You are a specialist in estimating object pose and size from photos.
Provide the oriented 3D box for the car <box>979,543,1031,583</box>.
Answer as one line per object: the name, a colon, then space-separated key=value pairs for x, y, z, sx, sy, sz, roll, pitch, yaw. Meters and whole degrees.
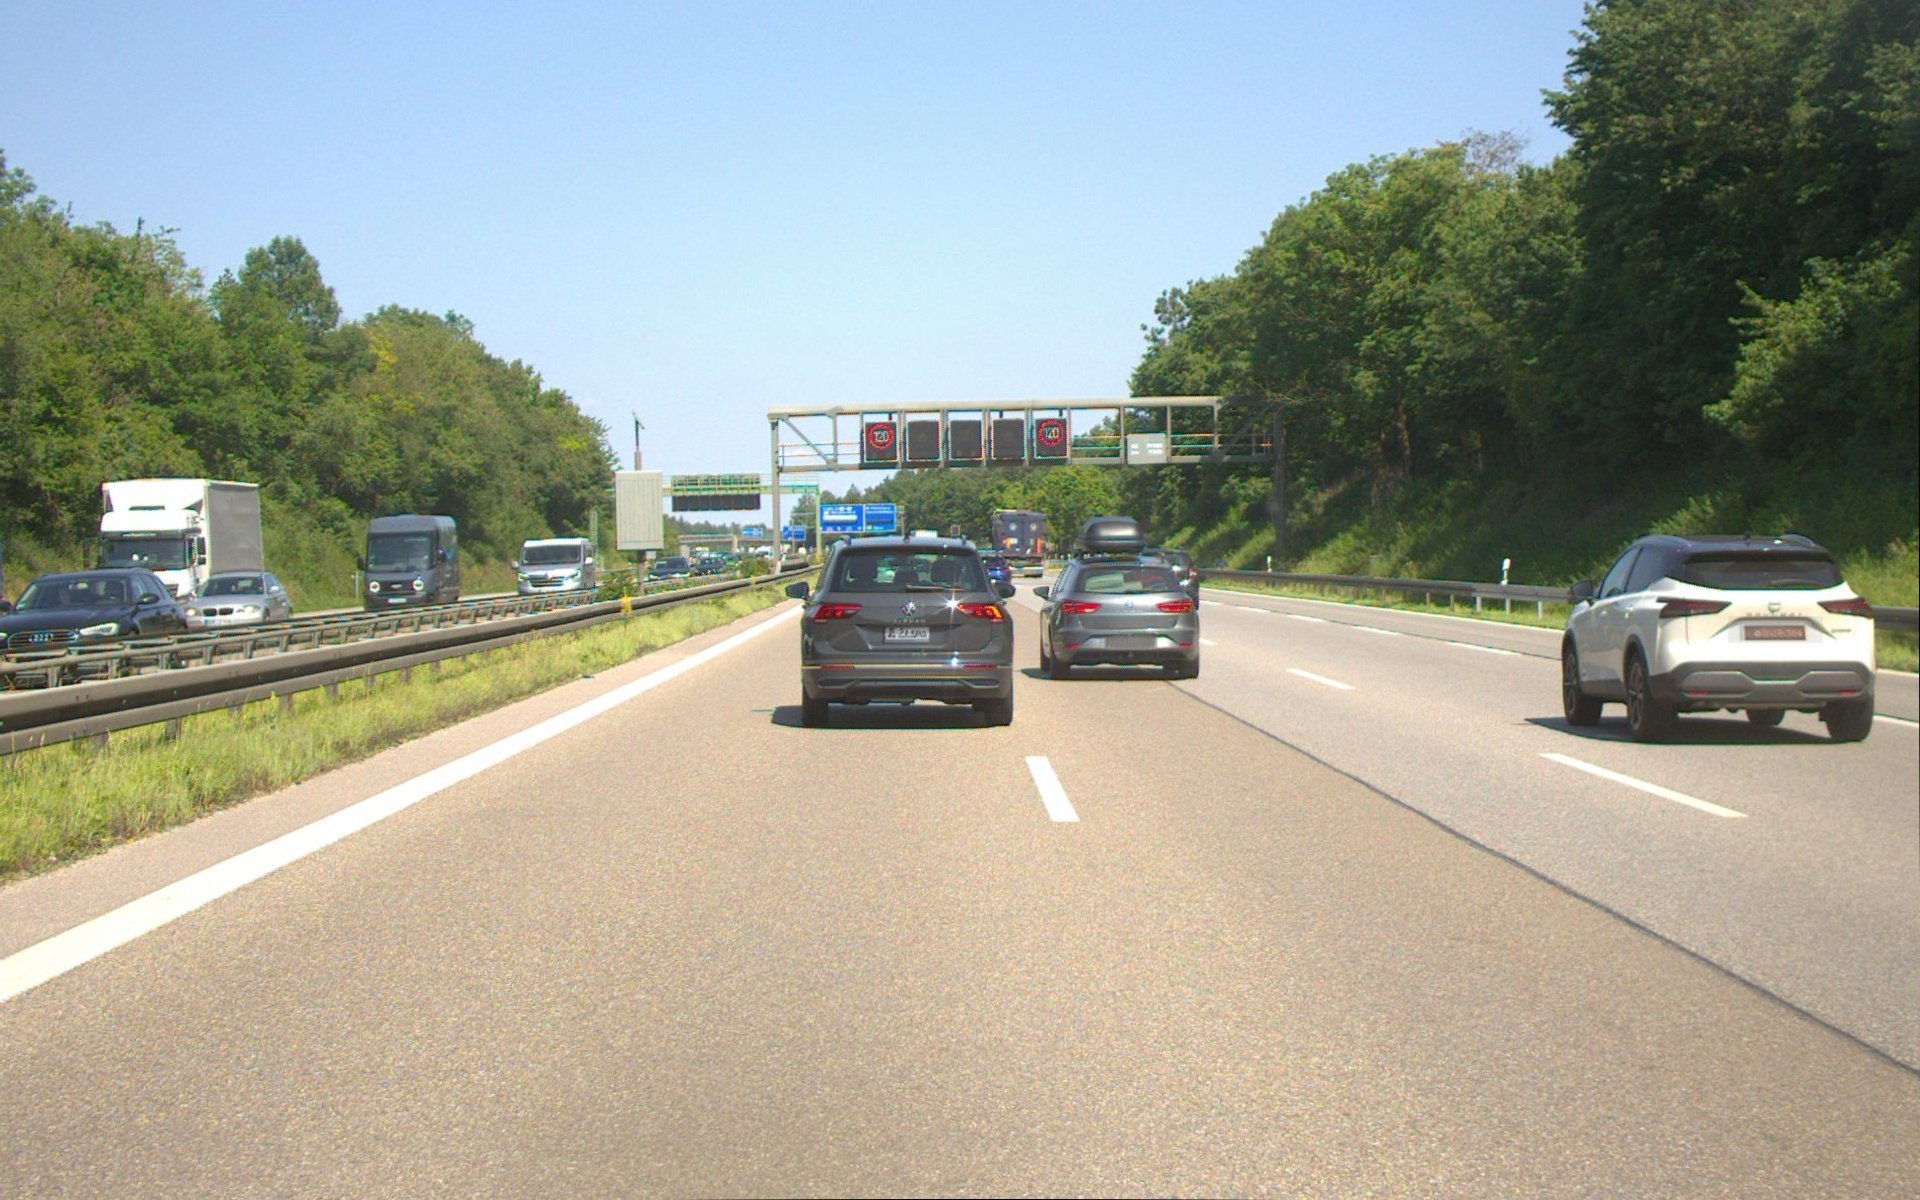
car: x=1.590 y=-1.318 z=121.617 sx=1.765 sy=1.377 sz=4.258 roll=1 pitch=1 yaw=1

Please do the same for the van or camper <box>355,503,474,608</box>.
van or camper: x=-15.529 y=-1.290 z=98.193 sx=2.197 sy=2.802 sz=6.798 roll=-3 pitch=1 yaw=0

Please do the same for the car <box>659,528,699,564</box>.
car: x=-12.024 y=-2.311 z=147.189 sx=1.433 sy=1.523 sz=3.458 roll=-1 pitch=1 yaw=-1

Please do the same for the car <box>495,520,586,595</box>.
car: x=-11.911 y=-1.219 z=97.994 sx=1.928 sy=1.974 sz=5.235 roll=-3 pitch=1 yaw=-1

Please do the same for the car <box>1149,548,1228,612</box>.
car: x=5.863 y=-0.526 z=88.624 sx=1.765 sy=1.563 sz=4.258 roll=1 pitch=1 yaw=1

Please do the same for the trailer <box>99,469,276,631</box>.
trailer: x=-19.523 y=-1.287 z=87.362 sx=2.712 sy=3.796 sz=7.693 roll=-3 pitch=1 yaw=-1

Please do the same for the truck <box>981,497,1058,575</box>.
truck: x=3.442 y=-3.761 z=203.044 sx=3.780 sy=4.407 sz=14.052 roll=0 pitch=1 yaw=-2

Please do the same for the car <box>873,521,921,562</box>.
car: x=-2.475 y=-2.325 z=135.688 sx=1.765 sy=1.563 sz=4.258 roll=1 pitch=1 yaw=1

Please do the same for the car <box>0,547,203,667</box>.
car: x=-11.119 y=0.050 z=44.020 sx=1.807 sy=1.401 sz=4.819 roll=-2 pitch=1 yaw=-1

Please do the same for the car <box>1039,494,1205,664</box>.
car: x=1.878 y=-0.284 z=41.181 sx=1.665 sy=1.870 sz=4.828 roll=-1 pitch=1 yaw=-1

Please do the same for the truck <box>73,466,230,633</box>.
truck: x=-19.418 y=-1.219 z=82.782 sx=2.703 sy=3.796 sz=4.000 roll=-3 pitch=1 yaw=-1

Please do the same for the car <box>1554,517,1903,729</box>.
car: x=6.108 y=0.136 z=27.790 sx=1.843 sy=1.563 sz=4.036 roll=1 pitch=1 yaw=-1

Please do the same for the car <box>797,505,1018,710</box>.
car: x=-0.409 y=0.023 z=30.450 sx=1.799 sy=1.663 sz=4.258 roll=1 pitch=1 yaw=1

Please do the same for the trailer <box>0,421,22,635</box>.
trailer: x=-19.341 y=-1.194 z=59.034 sx=2.614 sy=4.044 sz=14.170 roll=-3 pitch=1 yaw=-1

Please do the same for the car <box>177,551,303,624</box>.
car: x=-14.922 y=-0.289 z=71.450 sx=1.713 sy=1.413 sz=4.504 roll=-1 pitch=1 yaw=-1

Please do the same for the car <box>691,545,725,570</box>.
car: x=-14.550 y=-2.469 z=198.997 sx=1.713 sy=1.393 sz=4.150 roll=-1 pitch=1 yaw=-1
